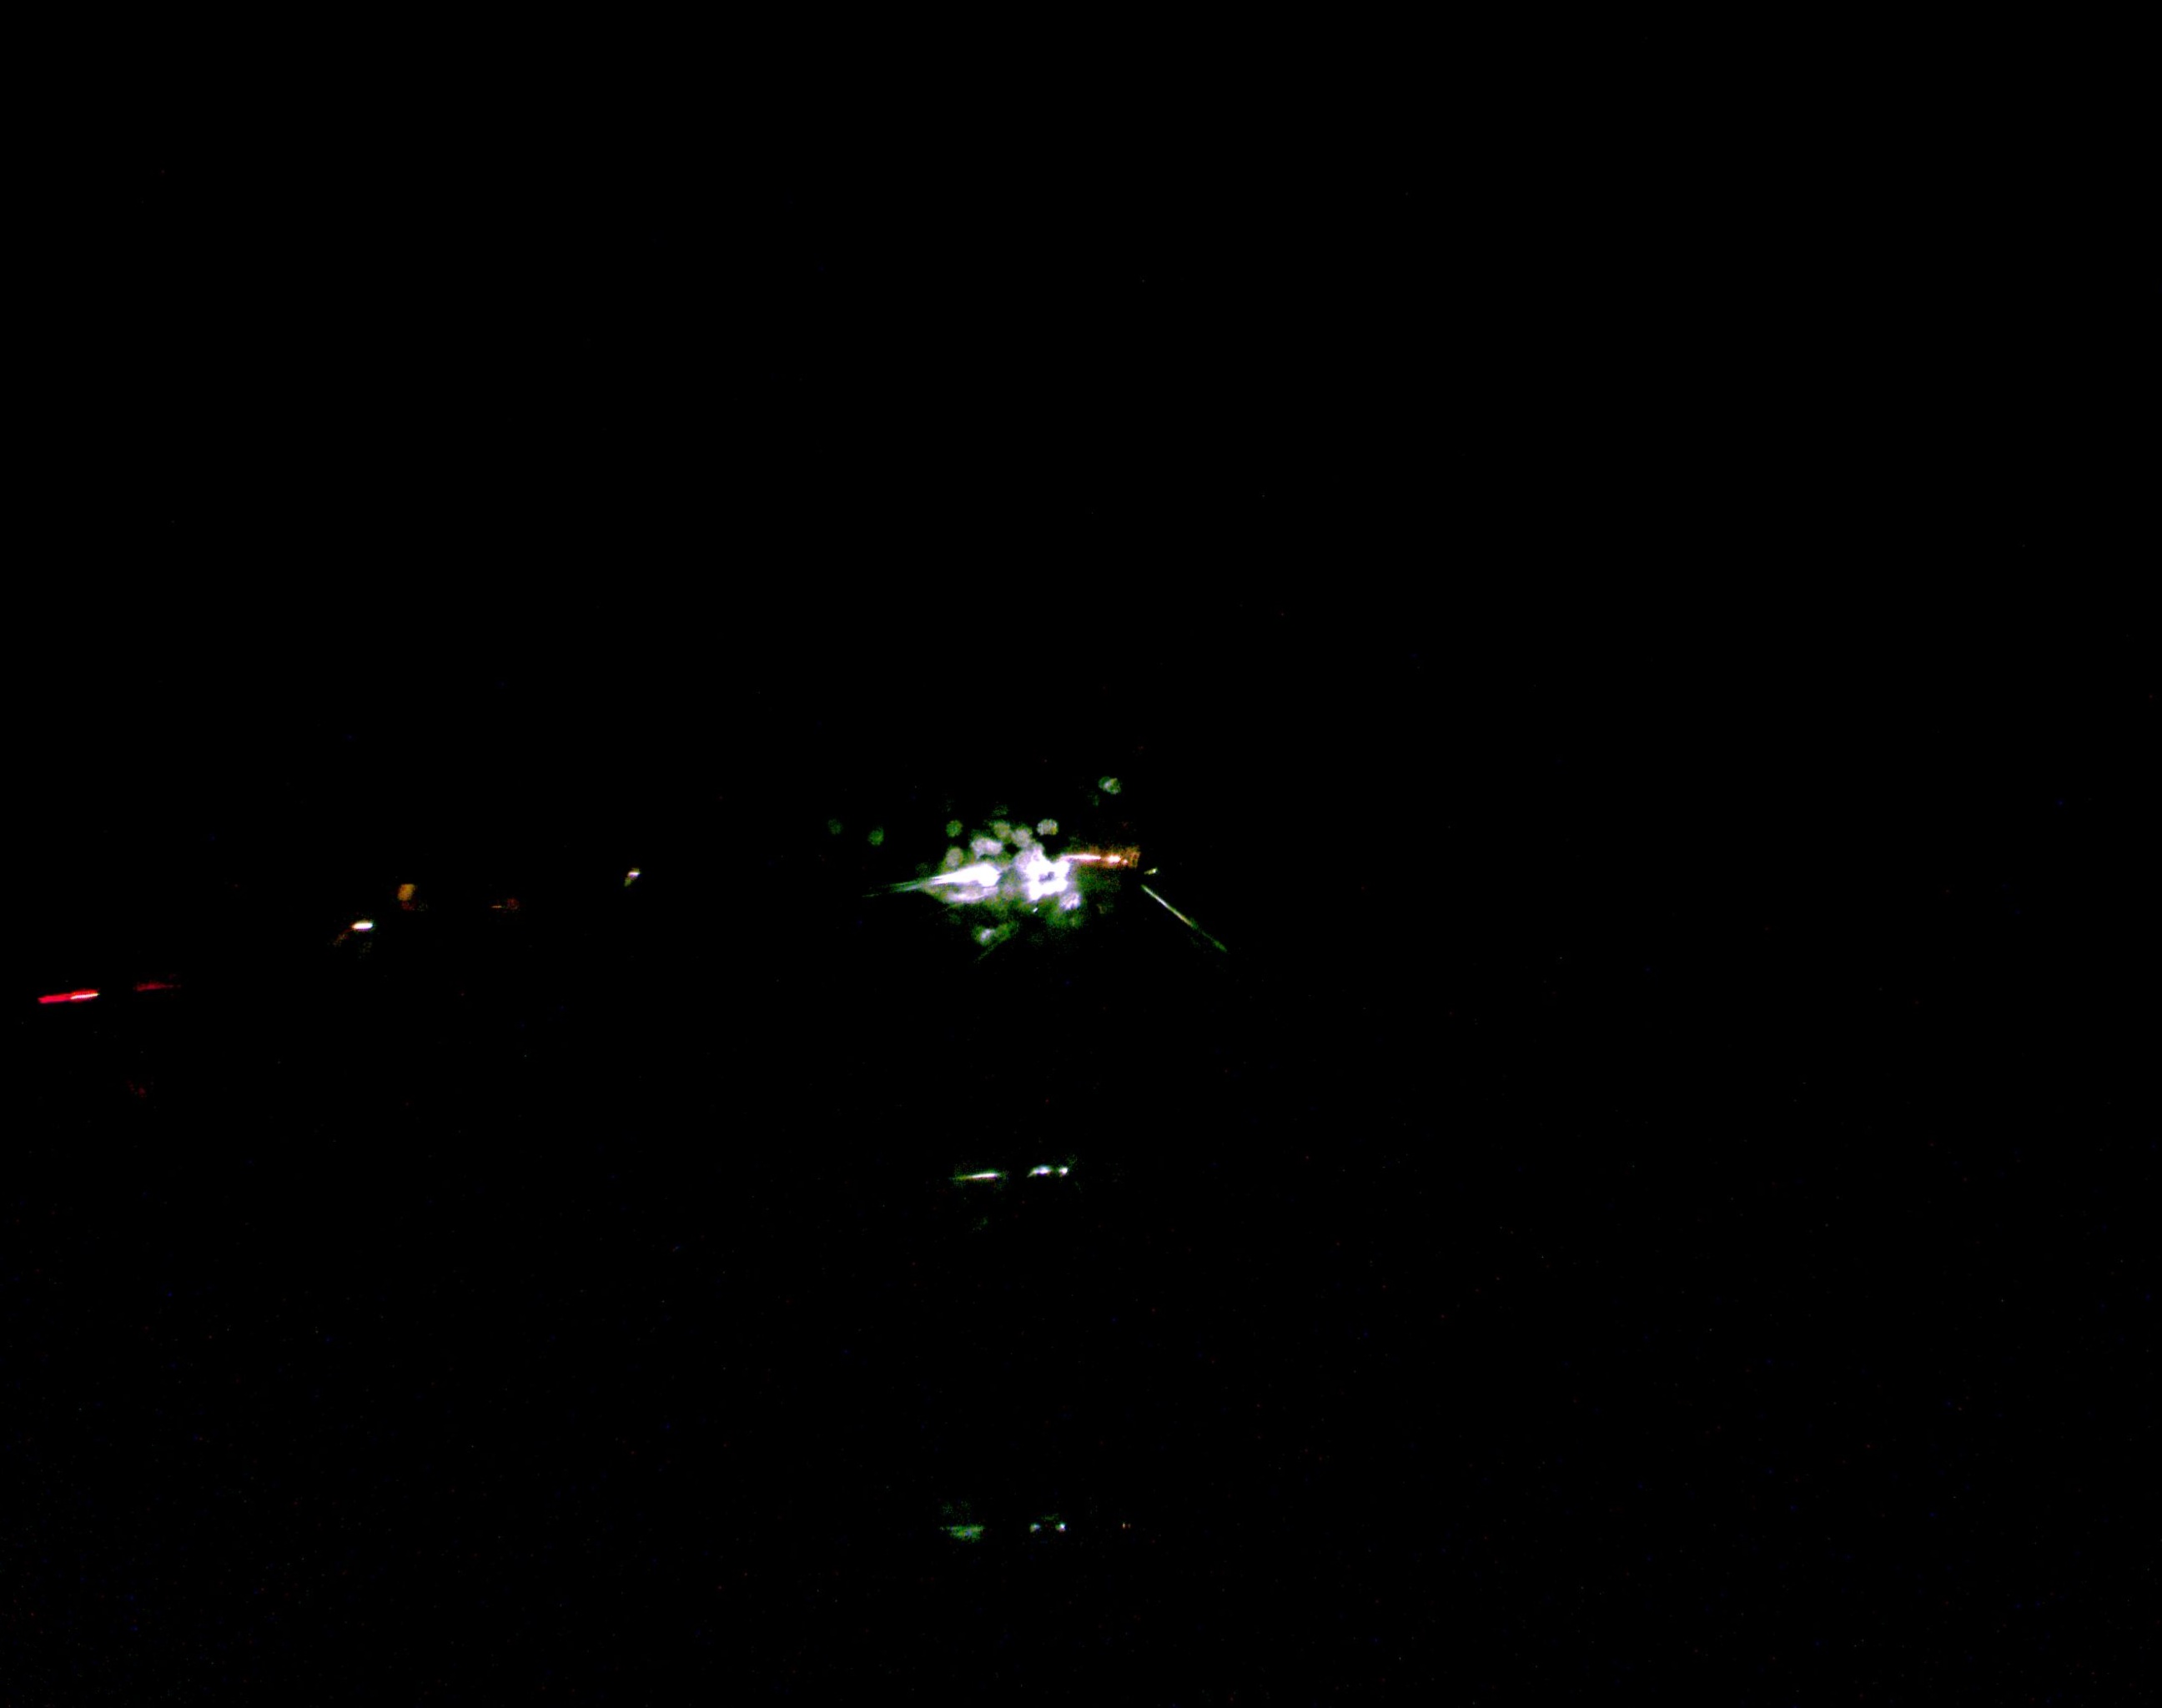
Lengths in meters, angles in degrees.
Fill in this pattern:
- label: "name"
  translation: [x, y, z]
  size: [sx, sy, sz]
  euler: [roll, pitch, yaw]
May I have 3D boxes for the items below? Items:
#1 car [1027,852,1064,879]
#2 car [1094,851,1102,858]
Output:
- label: "car"
  translation: [-2.252, 0.727, 53.236]
  size: [2.090, 1.639, 4.456]
  euler: [-1, 0, 1]
- label: "car"
  translation: [4.504, 0.089, 215.884]
  size: [1.986, 1.666, 4.001]
  euler: [-1, 0, 1]
